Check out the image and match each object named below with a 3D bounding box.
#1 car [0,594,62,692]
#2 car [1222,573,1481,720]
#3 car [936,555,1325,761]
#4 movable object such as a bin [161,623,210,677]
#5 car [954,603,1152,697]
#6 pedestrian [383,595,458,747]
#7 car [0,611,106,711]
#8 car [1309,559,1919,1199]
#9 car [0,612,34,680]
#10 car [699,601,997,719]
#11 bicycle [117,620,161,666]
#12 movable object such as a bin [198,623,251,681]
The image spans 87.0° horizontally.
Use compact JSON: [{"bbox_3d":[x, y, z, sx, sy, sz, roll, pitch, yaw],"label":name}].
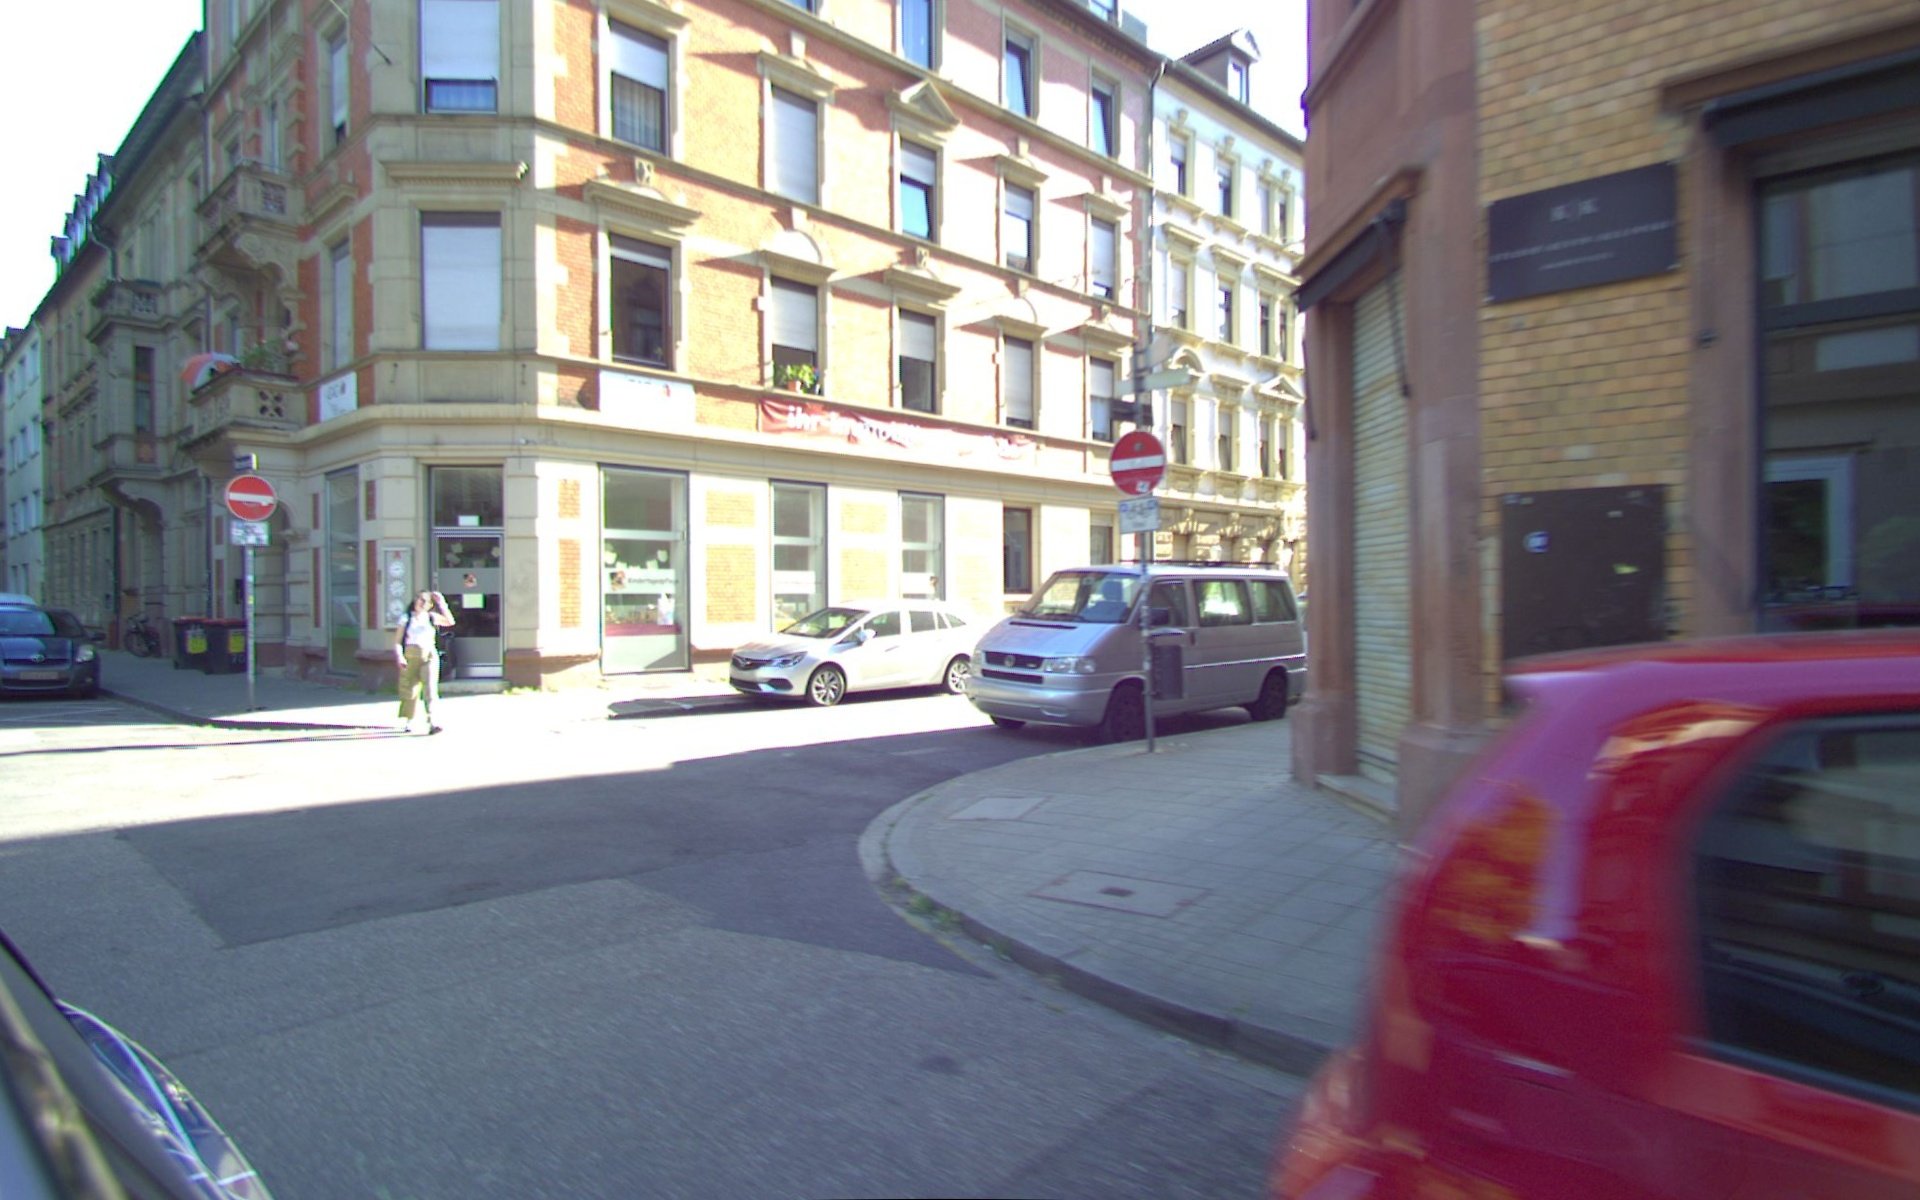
[{"bbox_3d":[-19.584,0.825,20.250,4.570,1.825,1.812,-1,-3,41],"label":"car"},{"bbox_3d":[6.075,0.601,15.483,4.296,1.908,1.943,0,2,-42],"label":"car"},{"bbox_3d":[2.138,0.534,11.733,4.655,1.908,2.029,1,1,-43],"label":"car"},{"bbox_3d":[-15.944,1.007,20.834,0.856,1.049,0.631,-1,1,41],"label":"movable object such as a bin"},{"bbox_3d":[1.830,0.872,19.322,3.636,1.542,1.774,0,2,-43],"label":"car"},{"bbox_3d":[-6.182,0.778,11.602,0.717,1.656,0.542,2,2,41],"label":"pedestrian"},{"bbox_3d":[-15.631,0.955,16.731,3.971,1.492,1.675,-1,-3,41],"label":"car"},{"bbox_3d":[2.281,0.726,0.608,3.599,1.492,1.611,-1,-3,41],"label":"car"},{"bbox_3d":[-23.147,1.033,23.593,3.968,1.525,1.676,-1,-3,39],"label":"car"},{"bbox_3d":[-1.639,0.822,15.861,4.374,1.542,1.869,0,2,-43],"label":"car"},{"bbox_3d":[-19.959,1.039,24.585,1.545,1.049,0.565,-1,1,41],"label":"bicycle"},{"bbox_3d":[-14.156,0.992,19.472,0.856,1.049,0.631,-1,1,41],"label":"movable object such as a bin"}]
